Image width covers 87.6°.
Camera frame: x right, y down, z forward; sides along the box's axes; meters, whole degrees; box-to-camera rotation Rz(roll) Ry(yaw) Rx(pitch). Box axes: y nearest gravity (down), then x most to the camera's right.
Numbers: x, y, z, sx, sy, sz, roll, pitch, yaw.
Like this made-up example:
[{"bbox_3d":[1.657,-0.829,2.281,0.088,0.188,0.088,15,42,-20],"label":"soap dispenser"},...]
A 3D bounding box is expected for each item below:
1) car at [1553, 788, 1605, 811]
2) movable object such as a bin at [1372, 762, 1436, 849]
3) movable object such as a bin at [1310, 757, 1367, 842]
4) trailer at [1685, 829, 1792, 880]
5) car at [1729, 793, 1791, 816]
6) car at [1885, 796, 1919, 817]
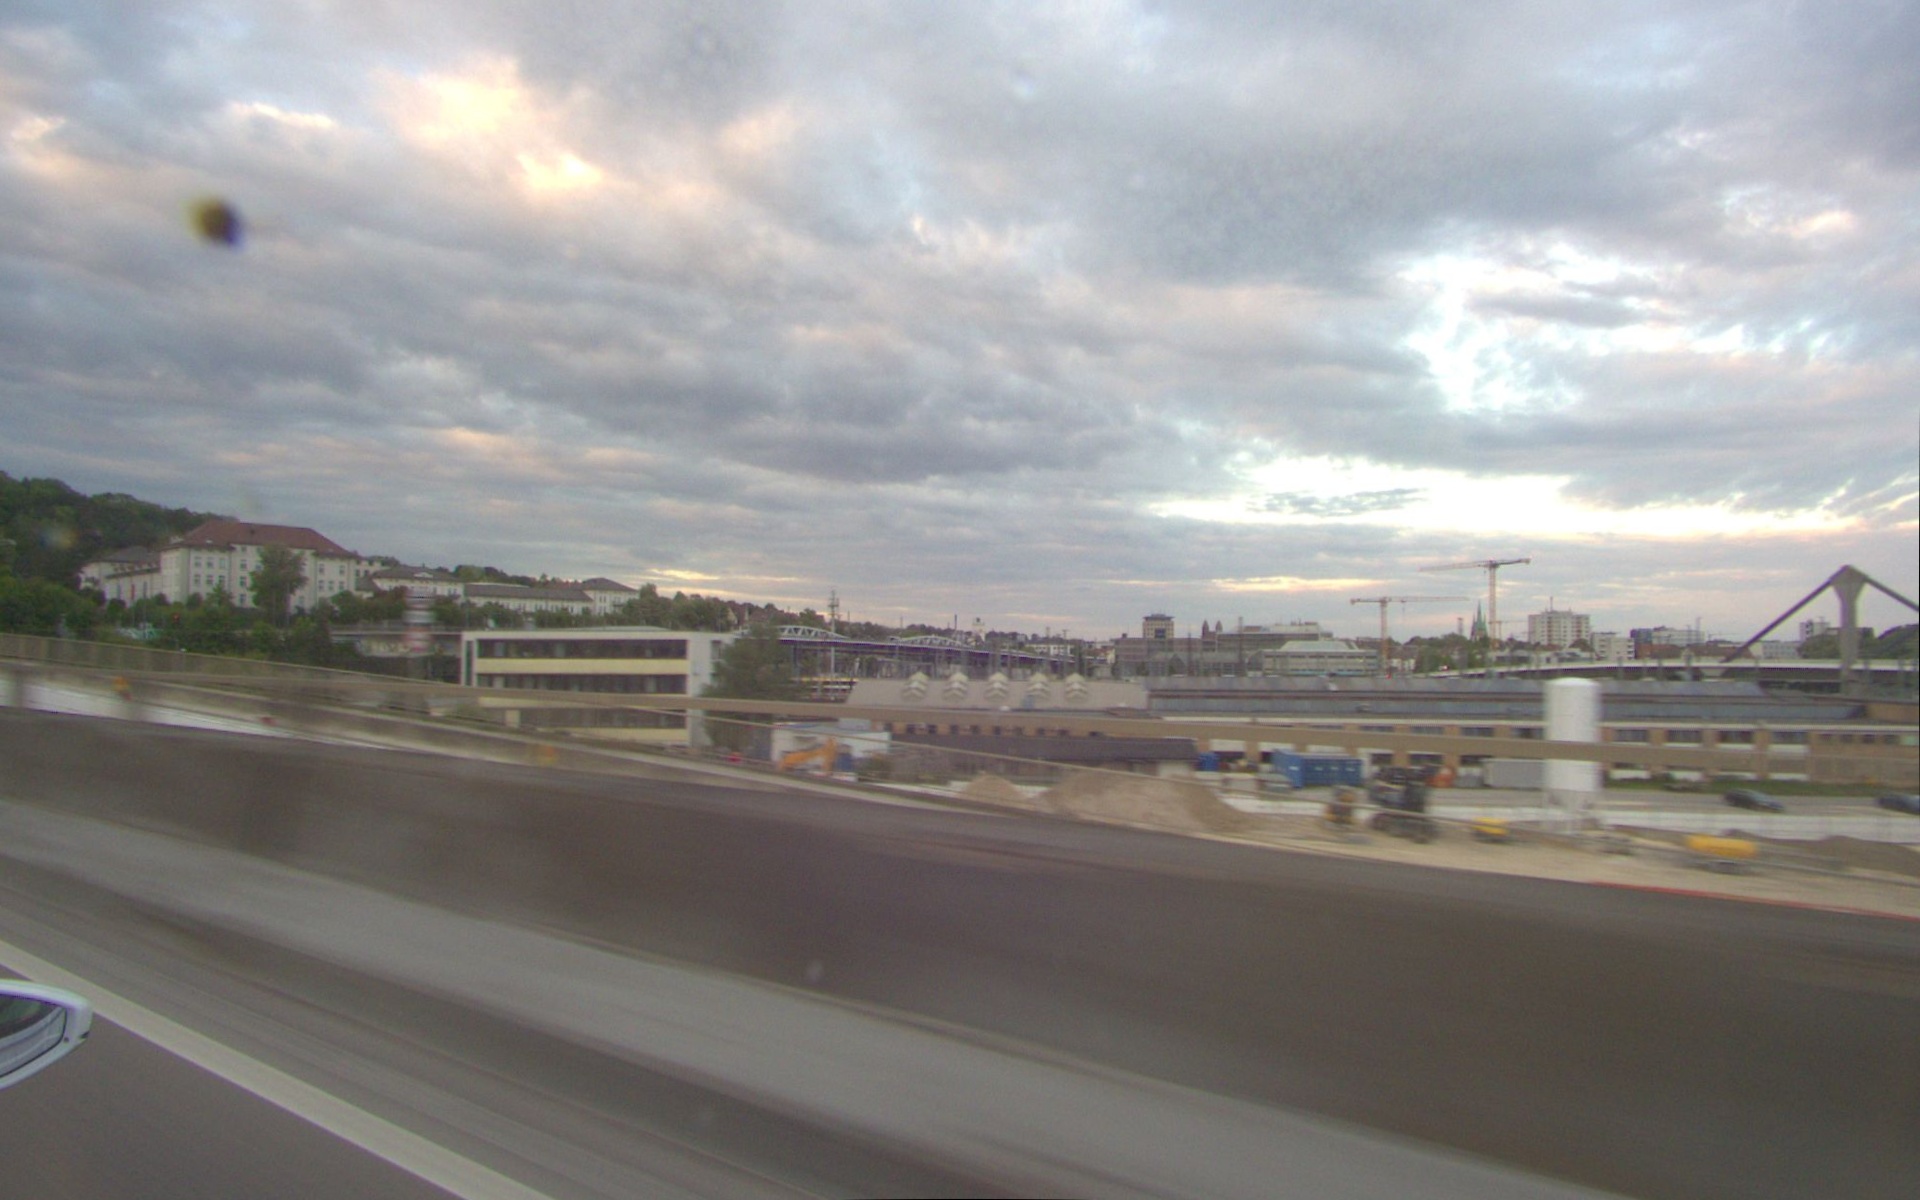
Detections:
[{"bbox_3d":[50.315,16.226,81.515,1.835,1.435,4.010,4,-7,2],"label":"car"},{"bbox_3d":[25.174,11.550,56.963,2.735,4.357,4.961,2,-7,18],"label":"movable object such as a bin"},{"bbox_3d":[21.839,11.419,57.972,2.735,4.357,4.961,2,-7,18],"label":"movable object such as a bin"},{"bbox_3d":[37.919,12.364,48.881,3.782,1.823,1.998,1,-7,27],"label":"trailer"},{"bbox_3d":[64.123,16.369,80.330,1.835,1.435,4.010,4,-7,2],"label":"car"},{"bbox_3d":[76.402,16.497,79.707,1.835,1.435,4.010,4,-7,2],"label":"car"}]
